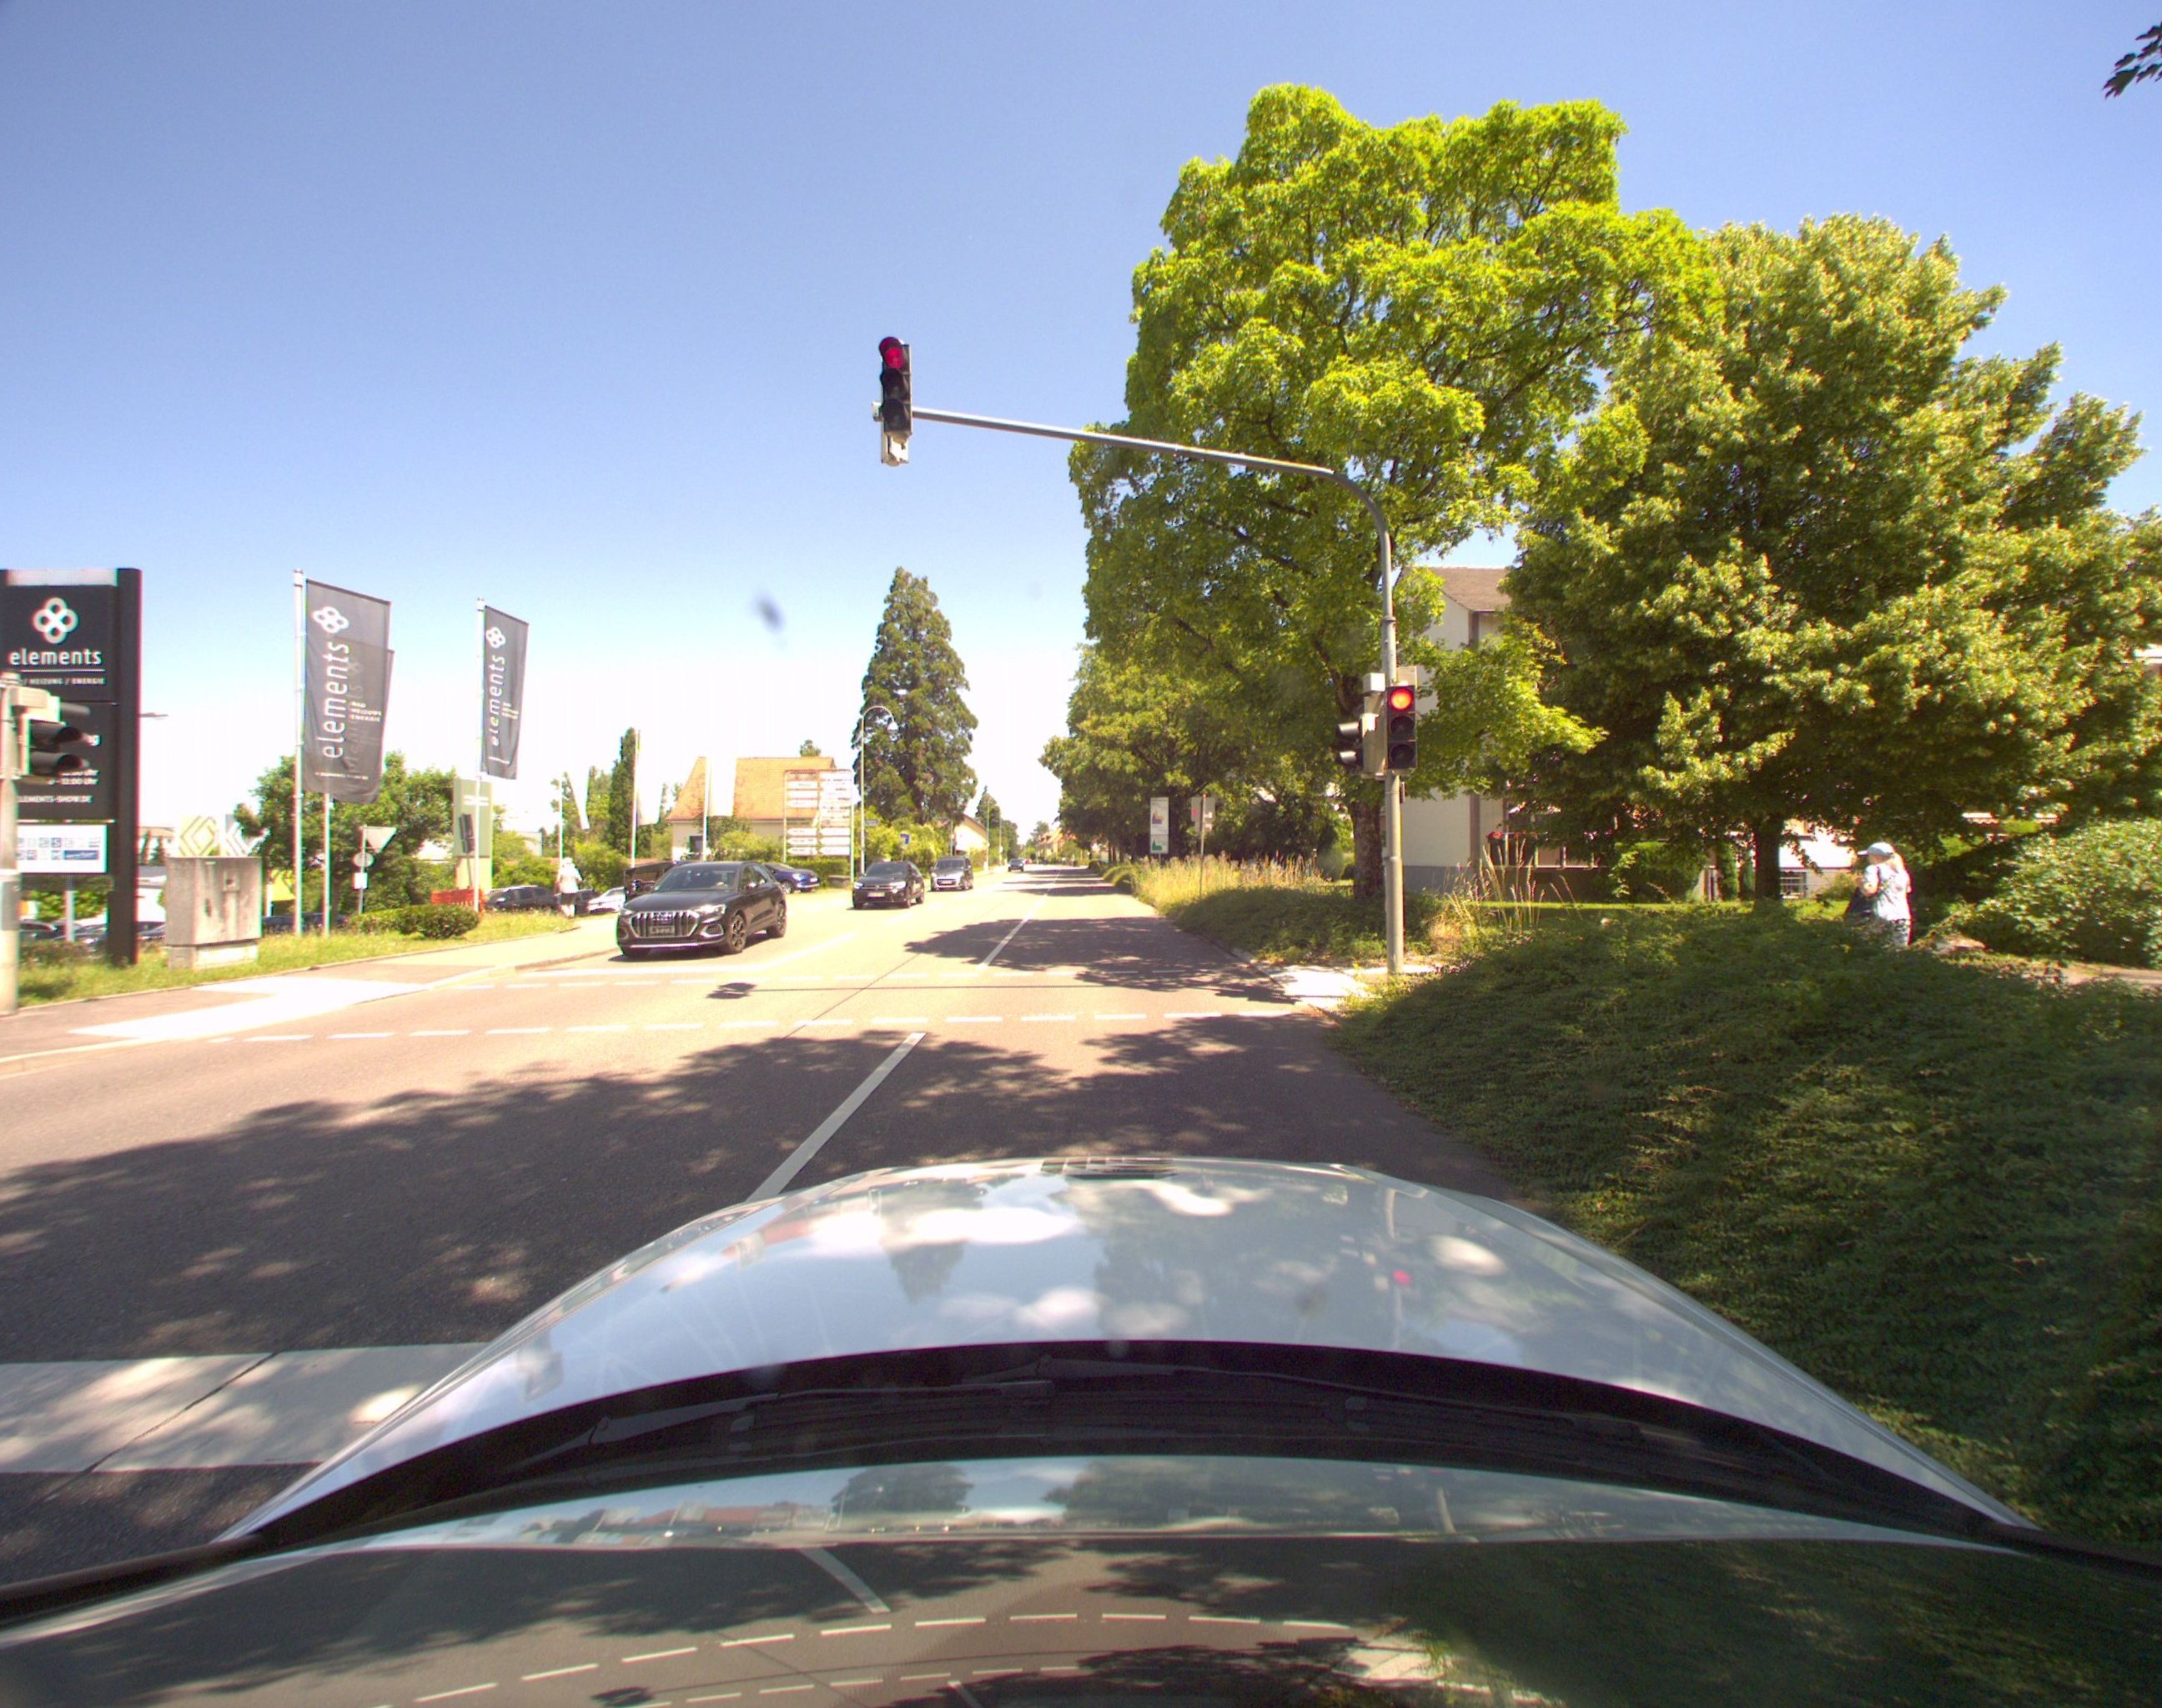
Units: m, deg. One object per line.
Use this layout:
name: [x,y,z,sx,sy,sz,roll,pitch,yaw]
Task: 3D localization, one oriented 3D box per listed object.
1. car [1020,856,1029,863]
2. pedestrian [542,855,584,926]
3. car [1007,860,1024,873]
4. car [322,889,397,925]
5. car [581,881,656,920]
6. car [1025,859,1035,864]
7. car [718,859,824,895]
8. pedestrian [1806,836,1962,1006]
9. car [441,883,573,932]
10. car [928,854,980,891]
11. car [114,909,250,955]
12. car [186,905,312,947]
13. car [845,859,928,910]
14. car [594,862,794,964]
car: [-13.174,1.298,190.591,1.907,1.689,4.123,0,0,-1]
pedestrian: [-13.203,0.916,20.765,0.538,1.761,0.706,-1,-1,28]
car: [-8.124,1.502,101.893,1.788,1.536,4.313,-1,0,-1]
car: [-39.404,2.837,44.587,1.816,1.722,4.059,0,0,-22]
car: [-23.285,2.291,41.169,1.806,1.722,4.081,0,0,-6]
car: [-14.696,2.206,233.712,1.948,1.359,4.438,-1,0,-16]
car: [-13.923,1.033,36.642,4.109,1.504,1.782,-1,0,10]
pedestrian: [8.162,0.647,8.318,0.717,1.633,0.849,-1,-1,-7]
car: [-23.048,2.081,32.896,1.795,1.722,4.106,-1,0,16]
car: [-6.426,0.919,41.593,1.804,1.762,4.571,-1,0,1]
car: [-37.174,3.176,33.846,1.754,1.486,3.983,-1,0,-12]
car: [-34.311,2.928,33.736,1.647,1.415,3.856,-1,0,-9]
car: [-6.303,0.950,26.861,1.864,1.507,4.049,-1,0,-2]
car: [-6.879,0.942,15.065,1.923,1.555,4.295,-1,0,-5]
